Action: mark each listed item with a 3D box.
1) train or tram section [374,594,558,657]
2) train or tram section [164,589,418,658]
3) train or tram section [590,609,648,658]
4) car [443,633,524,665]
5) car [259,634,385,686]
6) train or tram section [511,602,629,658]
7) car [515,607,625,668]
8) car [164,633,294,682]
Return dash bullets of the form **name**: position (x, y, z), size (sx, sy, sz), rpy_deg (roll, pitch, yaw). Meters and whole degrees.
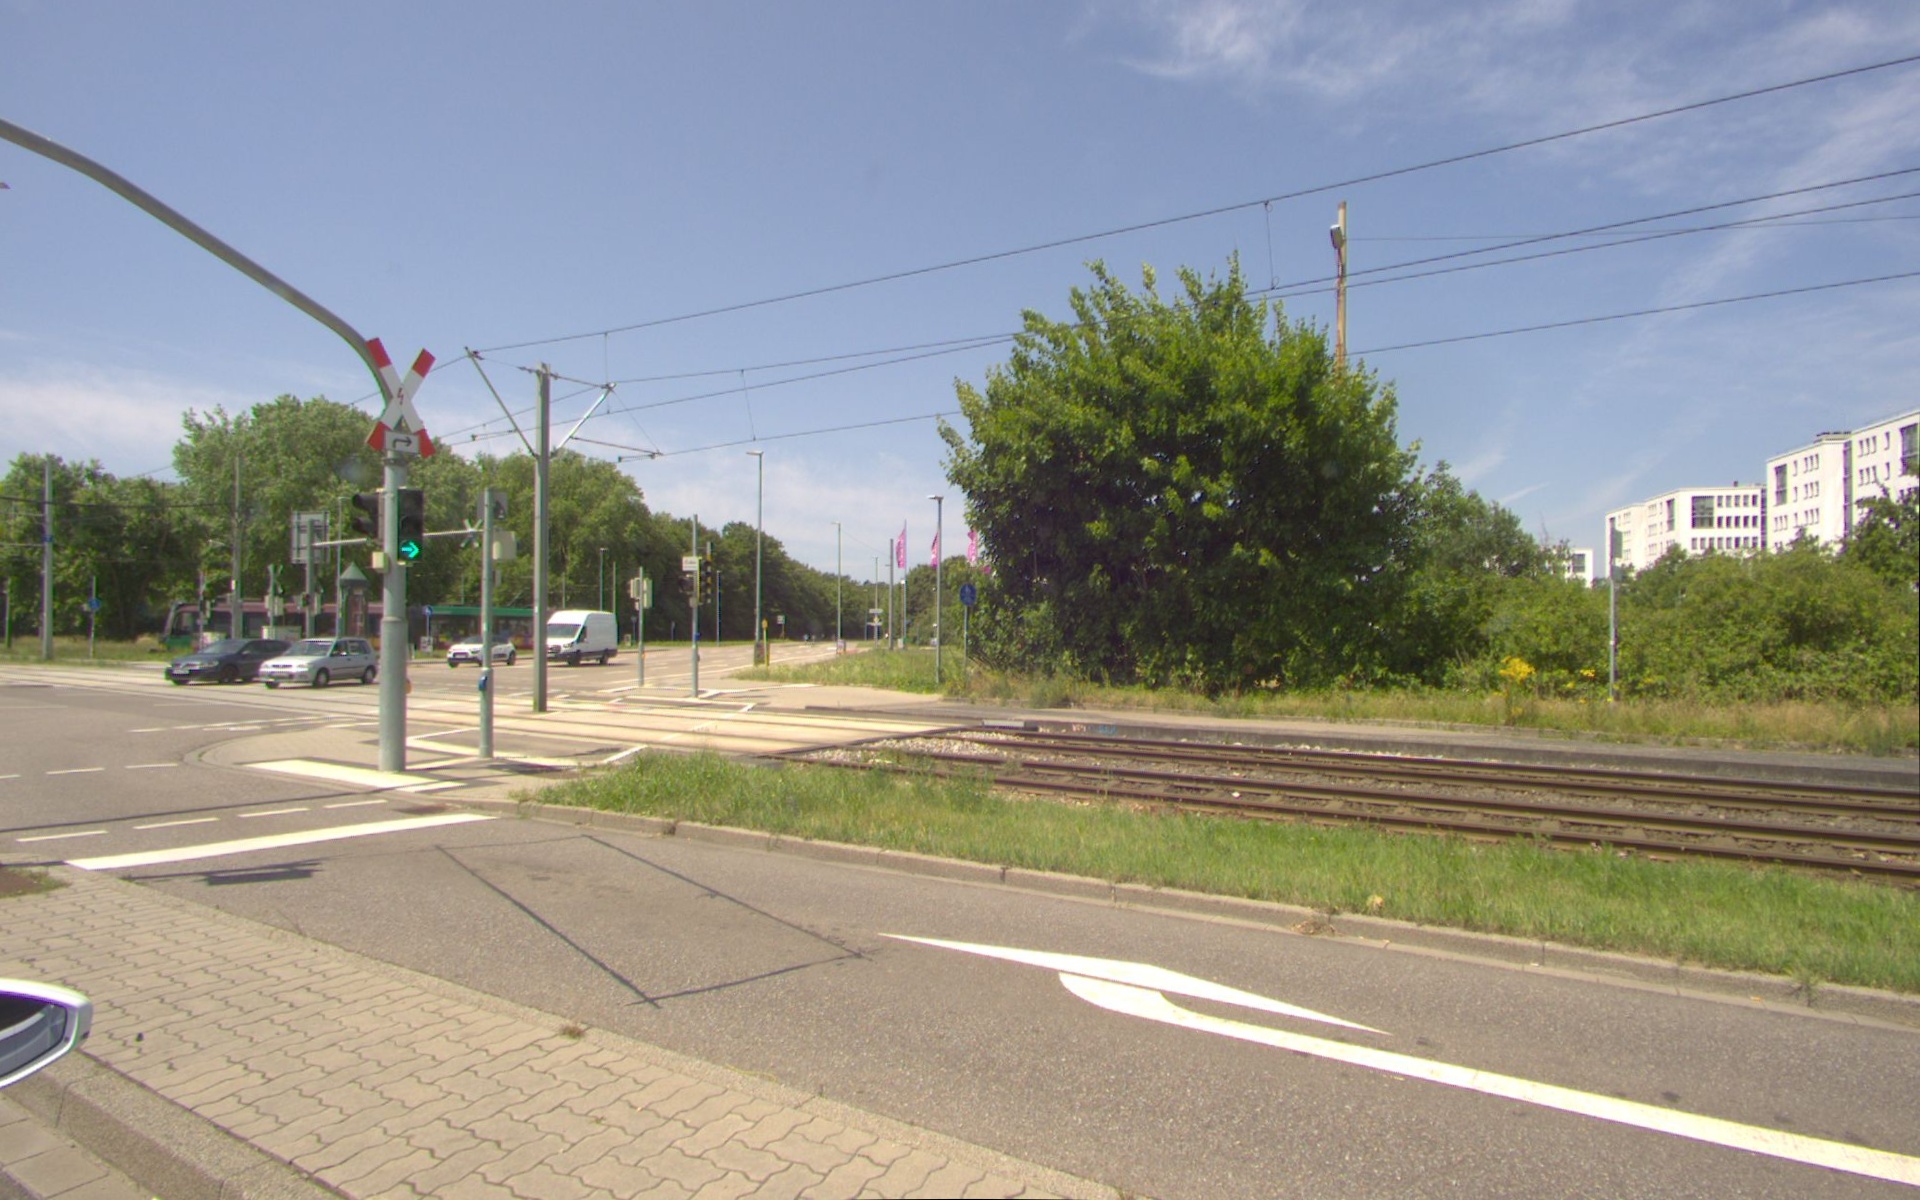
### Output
- **train or tram section**: position (-35.030, 2.041, 72.024), size (2.875, 3.856, 13.435), rpy_deg (-3, -4, 22)
- **train or tram section**: position (-41.499, 1.616, 62.720), size (12.942, 3.857, 2.900), rpy_deg (2, -5, -42)
- **train or tram section**: position (-32.279, 3.344, 95.367), size (2.868, 3.965, 13.975), rpy_deg (-1, -4, -9)
- **car**: position (-22.786, 2.321, 48.042), size (1.608, 1.481, 4.495), rpy_deg (0, -2, 2)
- **car**: position (-19.698, 1.812, 31.130), size (1.608, 1.481, 3.807), rpy_deg (0, -2, -3)
- **train or tram section**: position (-32.162, 2.711, 83.594), size (2.867, 3.965, 14.057), rpy_deg (-2, -4, 7)
- **car**: position (-19.674, 1.899, 51.057), size (2.664, 2.838, 7.287), rpy_deg (0, -2, 0)
- **car**: position (-23.625, 1.820, 32.526), size (1.608, 1.481, 3.510), rpy_deg (0, -2, 0)
